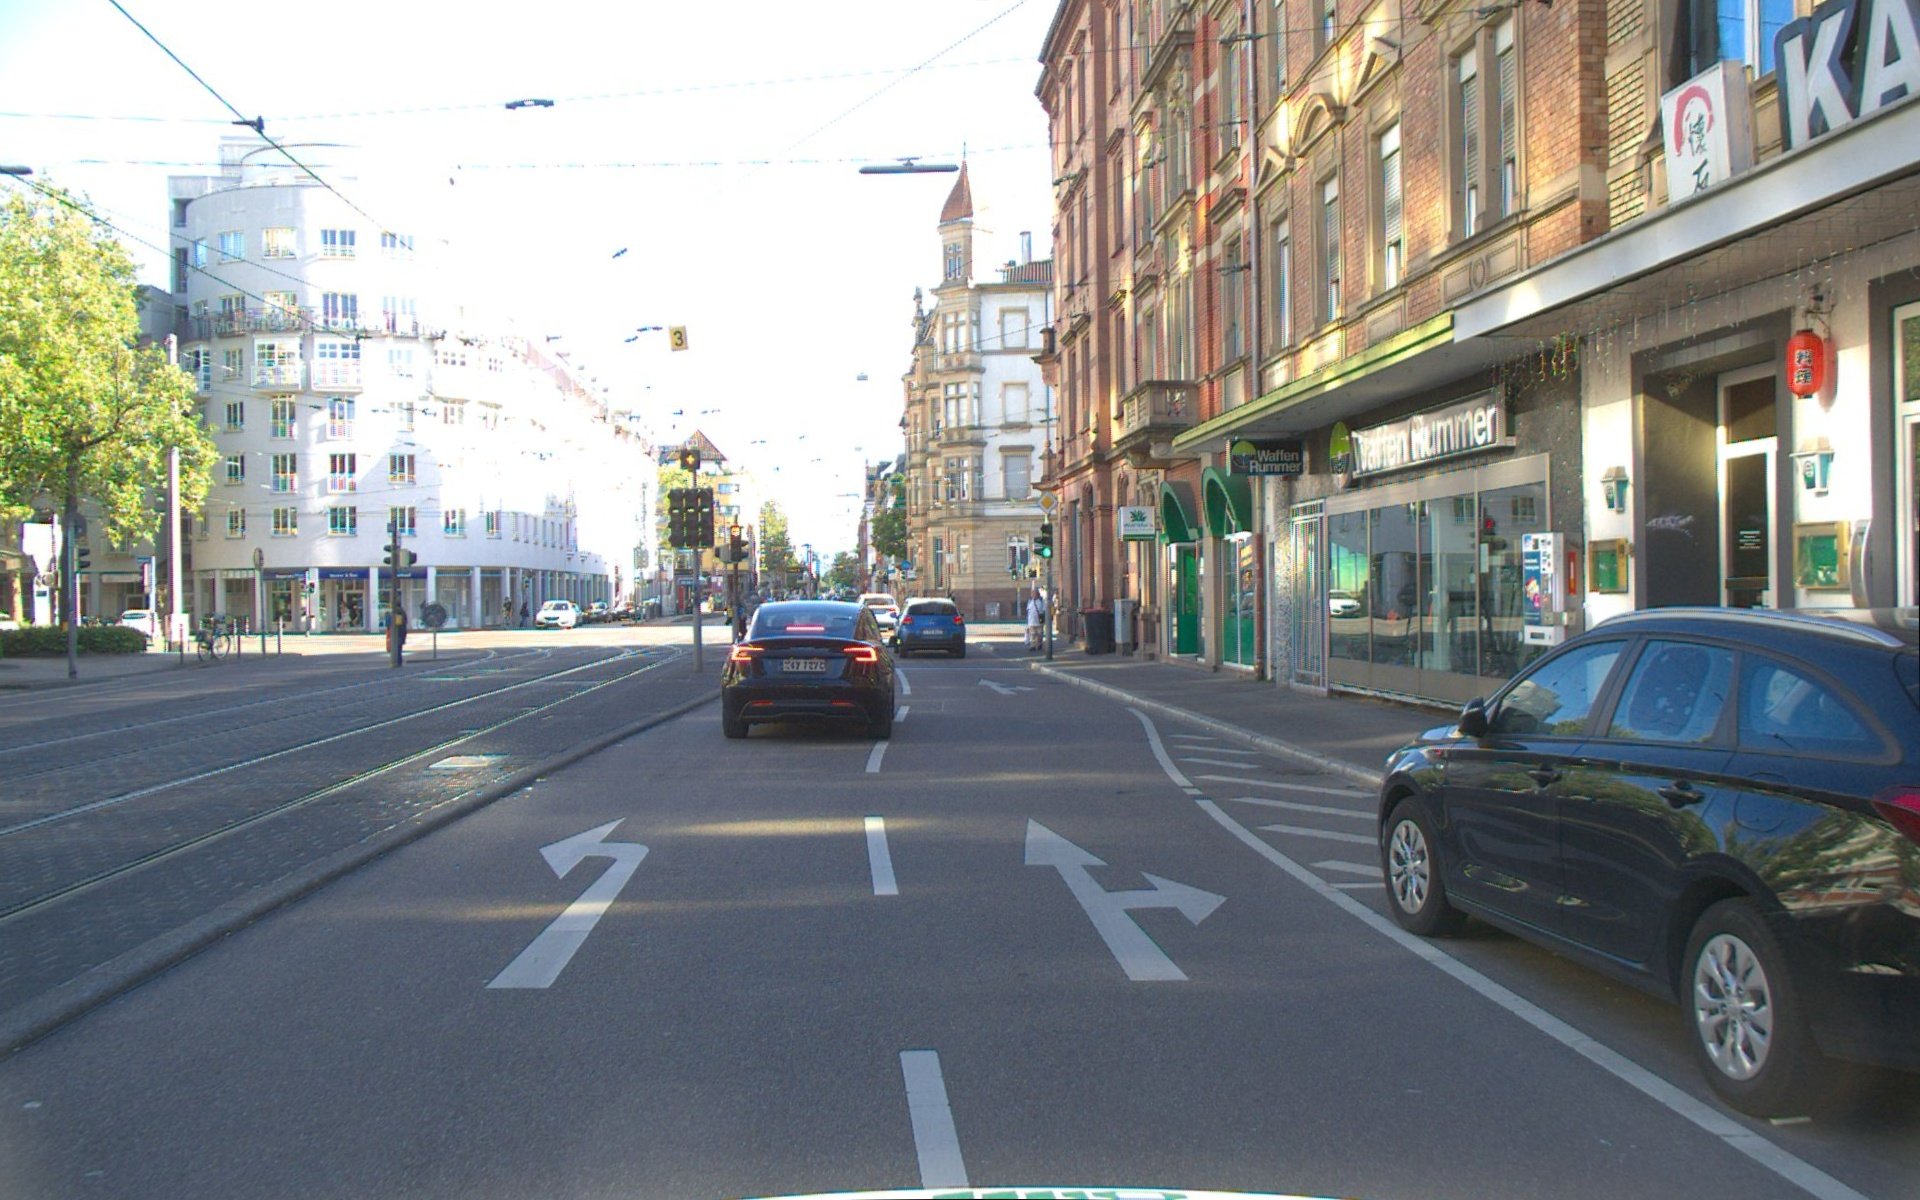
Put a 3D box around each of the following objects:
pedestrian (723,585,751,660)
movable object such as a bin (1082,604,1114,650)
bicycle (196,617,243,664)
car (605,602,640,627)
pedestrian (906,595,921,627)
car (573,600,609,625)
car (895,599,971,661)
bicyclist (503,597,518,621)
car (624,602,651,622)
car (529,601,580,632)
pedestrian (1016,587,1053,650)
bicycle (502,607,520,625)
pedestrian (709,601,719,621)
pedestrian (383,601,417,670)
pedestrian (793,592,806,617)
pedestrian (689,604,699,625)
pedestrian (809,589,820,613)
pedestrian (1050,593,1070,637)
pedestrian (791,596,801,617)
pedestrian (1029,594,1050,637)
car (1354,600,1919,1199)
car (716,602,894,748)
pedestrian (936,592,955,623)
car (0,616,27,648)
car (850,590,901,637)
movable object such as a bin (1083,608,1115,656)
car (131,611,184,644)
[{"bbox_3d":[-5.495,0.545,40.775,0.547,1.794,0.894,-3,0,-5],"label":"pedestrian"},{"bbox_3d":[3.401,0.663,40.762,0.650,1.091,0.545,-4,0,-3],"label":"movable object such as a bin"},{"bbox_3d":[-20.093,1.075,44.914,0.488,1.207,2.232,-1,0,-6],"label":"bicycle"},{"bbox_3d":[-26.178,1.109,128.396,2.184,1.944,4.603,-1,0,-5],"label":"car"},{"bbox_3d":[-2.657,0.600,94.619,0.765,1.780,1.091,-1,2,-7],"label":"pedestrian"},{"bbox_3d":[-25.823,0.894,115.842,1.955,1.624,3.994,-1,-1,-7],"label":"car"},{"bbox_3d":[-0.732,0.733,42.278,1.746,1.476,3.651,1,0,-4],"label":"car"},{"bbox_3d":[-24.956,0.517,91.804,0.577,1.308,0.926,-1,-1,-4],"label":"bicyclist"},{"bbox_3d":[-26.309,0.969,135.105,1.695,1.541,4.399,-1,0,-5],"label":"car"},{"bbox_3d":[-20.886,0.820,85.359,1.955,1.477,4.496,-1,0,-6],"label":"car"},{"bbox_3d":[1.983,0.490,43.971,0.675,1.635,0.722,-1,0,-36],"label":"pedestrian"},{"bbox_3d":[-24.938,0.913,91.846,0.582,0.989,1.816,-1,-1,-4],"label":"bicycle"},{"bbox_3d":[-20.219,0.891,135.844,0.717,1.586,0.742,-1,1,-6],"label":"pedestrian"},{"bbox_3d":[-12.914,0.808,38.146,0.490,1.544,0.858,-3,0,-5],"label":"pedestrian"},{"bbox_3d":[-12.054,0.345,124.315,0.704,1.808,0.564,-1,0,31],"label":"pedestrian"},{"bbox_3d":[-20.356,1.110,126.497,0.717,1.554,0.742,-1,1,-6],"label":"pedestrian"},{"bbox_3d":[-10.537,0.089,119.706,0.623,1.727,0.933,0,-1,3],"label":"pedestrian"},{"bbox_3d":[4.025,0.607,66.485,0.630,1.775,0.705,0,-1,17],"label":"pedestrian"},{"bbox_3d":[-12.336,0.470,124.229,0.574,1.589,0.468,-1,0,31],"label":"pedestrian"},{"bbox_3d":[3.204,0.627,66.455,0.686,1.684,0.632,-2,-1,17],"label":"pedestrian"},{"bbox_3d":[3.012,0.756,6.315,1.657,1.476,4.355,1,0,-5],"label":"car"},{"bbox_3d":[-1.734,0.761,18.764,1.775,1.449,4.149,1,0,-5],"label":"car"},{"bbox_3d":[-0.786,0.400,89.554,0.903,1.660,0.942,-1,-1,4],"label":"pedestrian"},{"bbox_3d":[-46.699,1.509,78.346,3.913,1.427,1.803,0,2,-1],"label":"car"},{"bbox_3d":[-3.424,0.559,66.265,1.954,1.773,3.996,1,-1,-4],"label":"car"},{"bbox_3d":[3.372,0.773,40.153,0.650,1.091,0.590,-4,0,-3],"label":"movable object such as a bin"},{"bbox_3d":[-39.853,1.342,82.178,1.770,1.427,4.082,-1,2,-18],"label":"car"}]
